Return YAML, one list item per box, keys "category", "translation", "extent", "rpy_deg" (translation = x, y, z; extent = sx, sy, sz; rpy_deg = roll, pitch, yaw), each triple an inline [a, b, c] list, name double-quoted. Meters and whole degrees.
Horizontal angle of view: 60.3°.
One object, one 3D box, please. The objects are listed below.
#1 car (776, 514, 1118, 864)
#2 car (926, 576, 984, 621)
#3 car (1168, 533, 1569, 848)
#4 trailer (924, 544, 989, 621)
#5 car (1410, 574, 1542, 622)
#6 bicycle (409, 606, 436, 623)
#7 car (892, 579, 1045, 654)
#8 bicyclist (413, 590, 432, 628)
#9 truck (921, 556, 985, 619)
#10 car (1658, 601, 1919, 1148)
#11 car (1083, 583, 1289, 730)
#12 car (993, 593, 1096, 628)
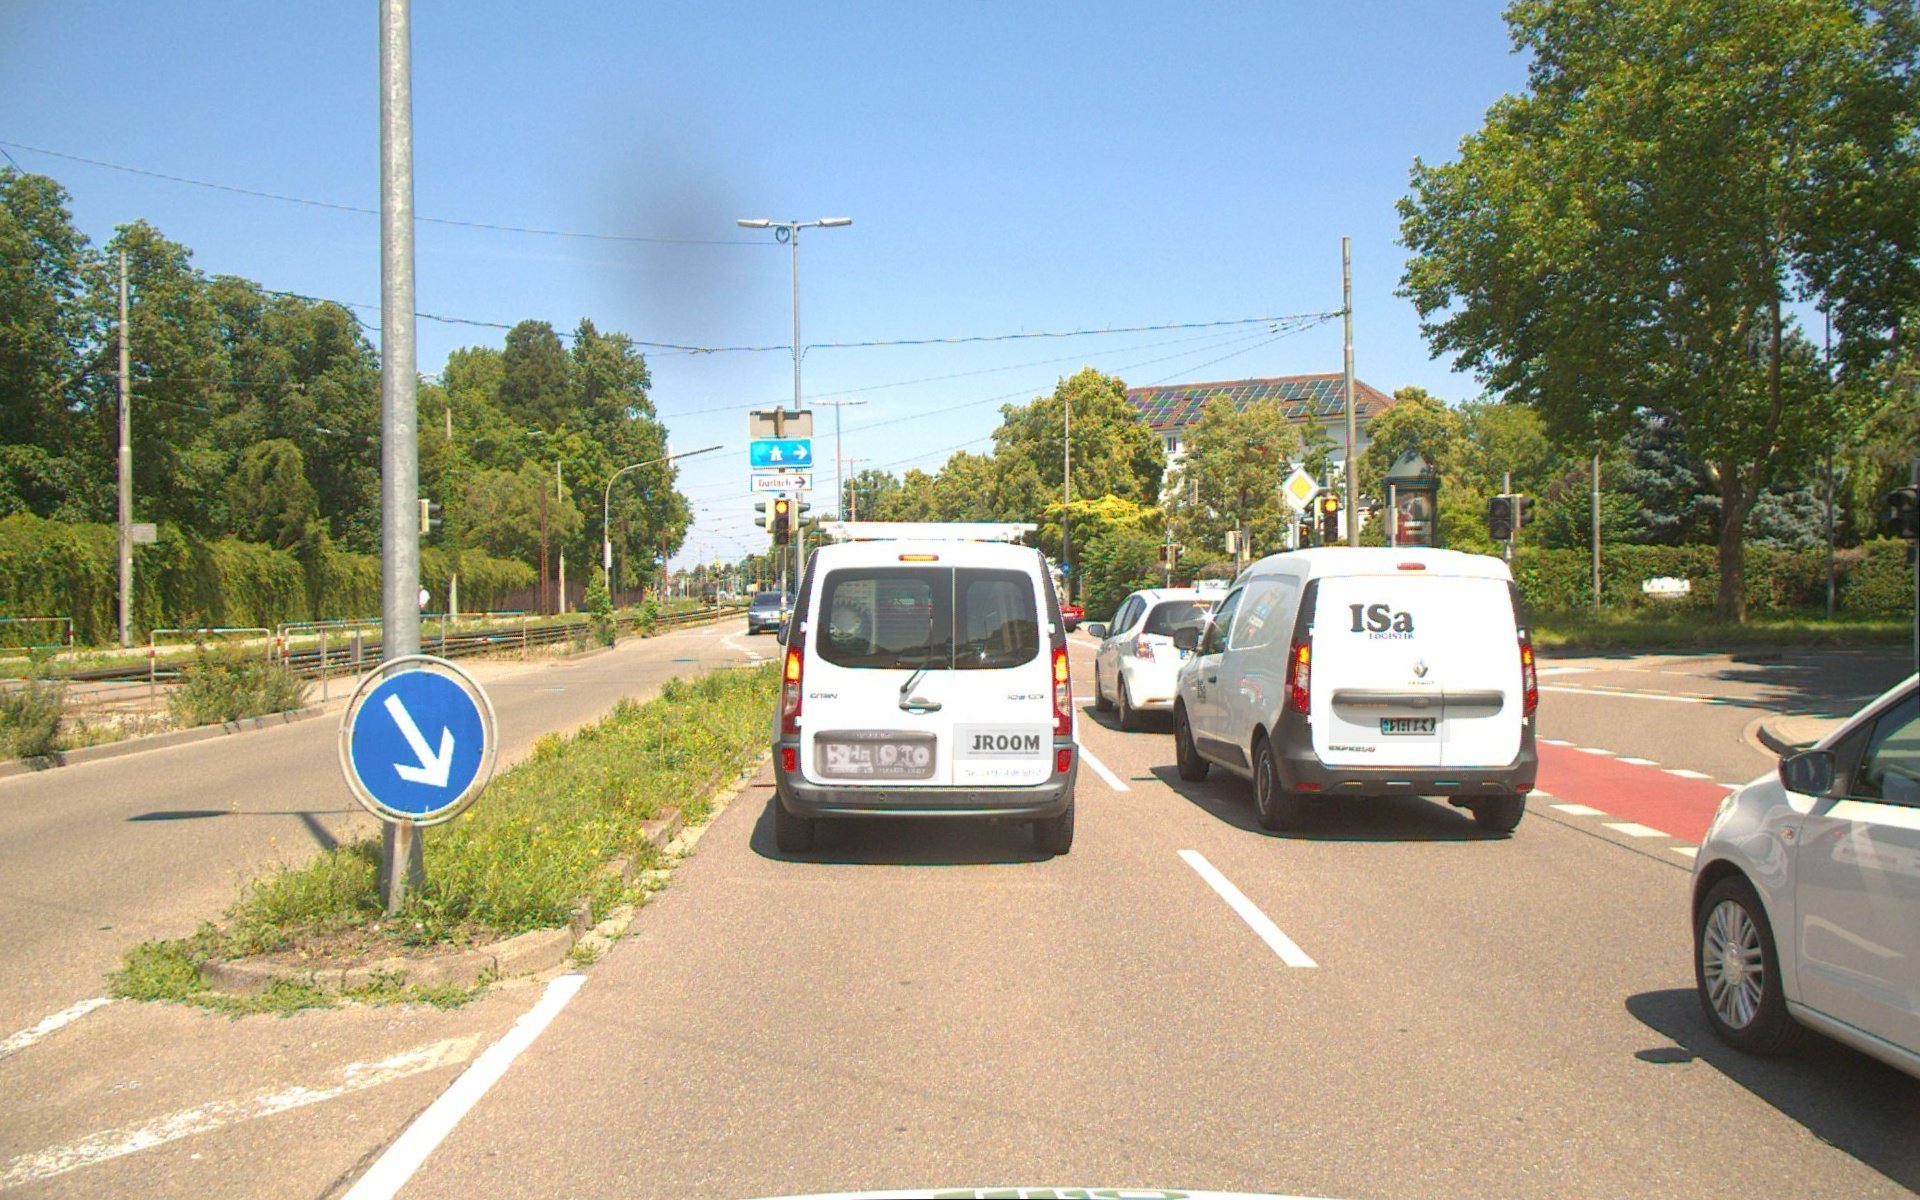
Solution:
- category: "car"
  translation: [-0.150, 0.465, 10.800]
  extent: [1.829, 1.868, 3.847]
  rpy_deg: [0, 0, -3]
- category: "car"
  translation: [-0.273, -0.076, 77.003]
  extent: [1.958, 2.049, 3.989]
  rpy_deg: [-1, 0, -11]
- category: "car"
  translation: [2.706, 0.522, 11.901]
  extent: [1.676, 1.862, 4.011]
  rpy_deg: [0, 0, -4]
- category: "trailer"
  translation: [-0.297, -0.977, 93.332]
  extent: [3.456, 4.121, 8.975]
  rpy_deg: [-1, 0, -1]
- category: "car"
  translation: [17.230, -0.076, 55.413]
  extent: [3.902, 1.534, 2.001]
  rpy_deg: [-1, 0, 6]
- category: "bicycle"
  translation: [-21.625, 0.592, 66.529]
  extent: [0.550, 0.659, 1.720]
  rpy_deg: [-1, 0, -1]
- category: "car"
  translation: [0.190, 0.413, 44.241]
  extent: [1.983, 1.892, 3.939]
  rpy_deg: [-1, 0, -42]
- category: "bicyclist"
  translation: [-21.627, 0.356, 66.548]
  extent: [0.546, 1.504, 0.561]
  rpy_deg: [-1, 0, -1]
- category: "truck"
  translation: [-0.504, -0.781, 102.207]
  extent: [3.505, 3.696, 8.803]
  rpy_deg: [-1, 0, -3]
- category: "car"
  translation: [3.401, 0.755, 4.384]
  extent: [1.574, 1.477, 3.520]
  rpy_deg: [0, 0, -1]
- category: "car"
  translation: [2.522, 0.577, 19.369]
  extent: [1.720, 1.512, 3.998]
  rpy_deg: [-1, 0, -2]
- category: "car"
  translation: [3.136, 0.374, 62.069]
  extent: [1.841, 1.243, 3.951]
  rpy_deg: [-1, 0, -35]
